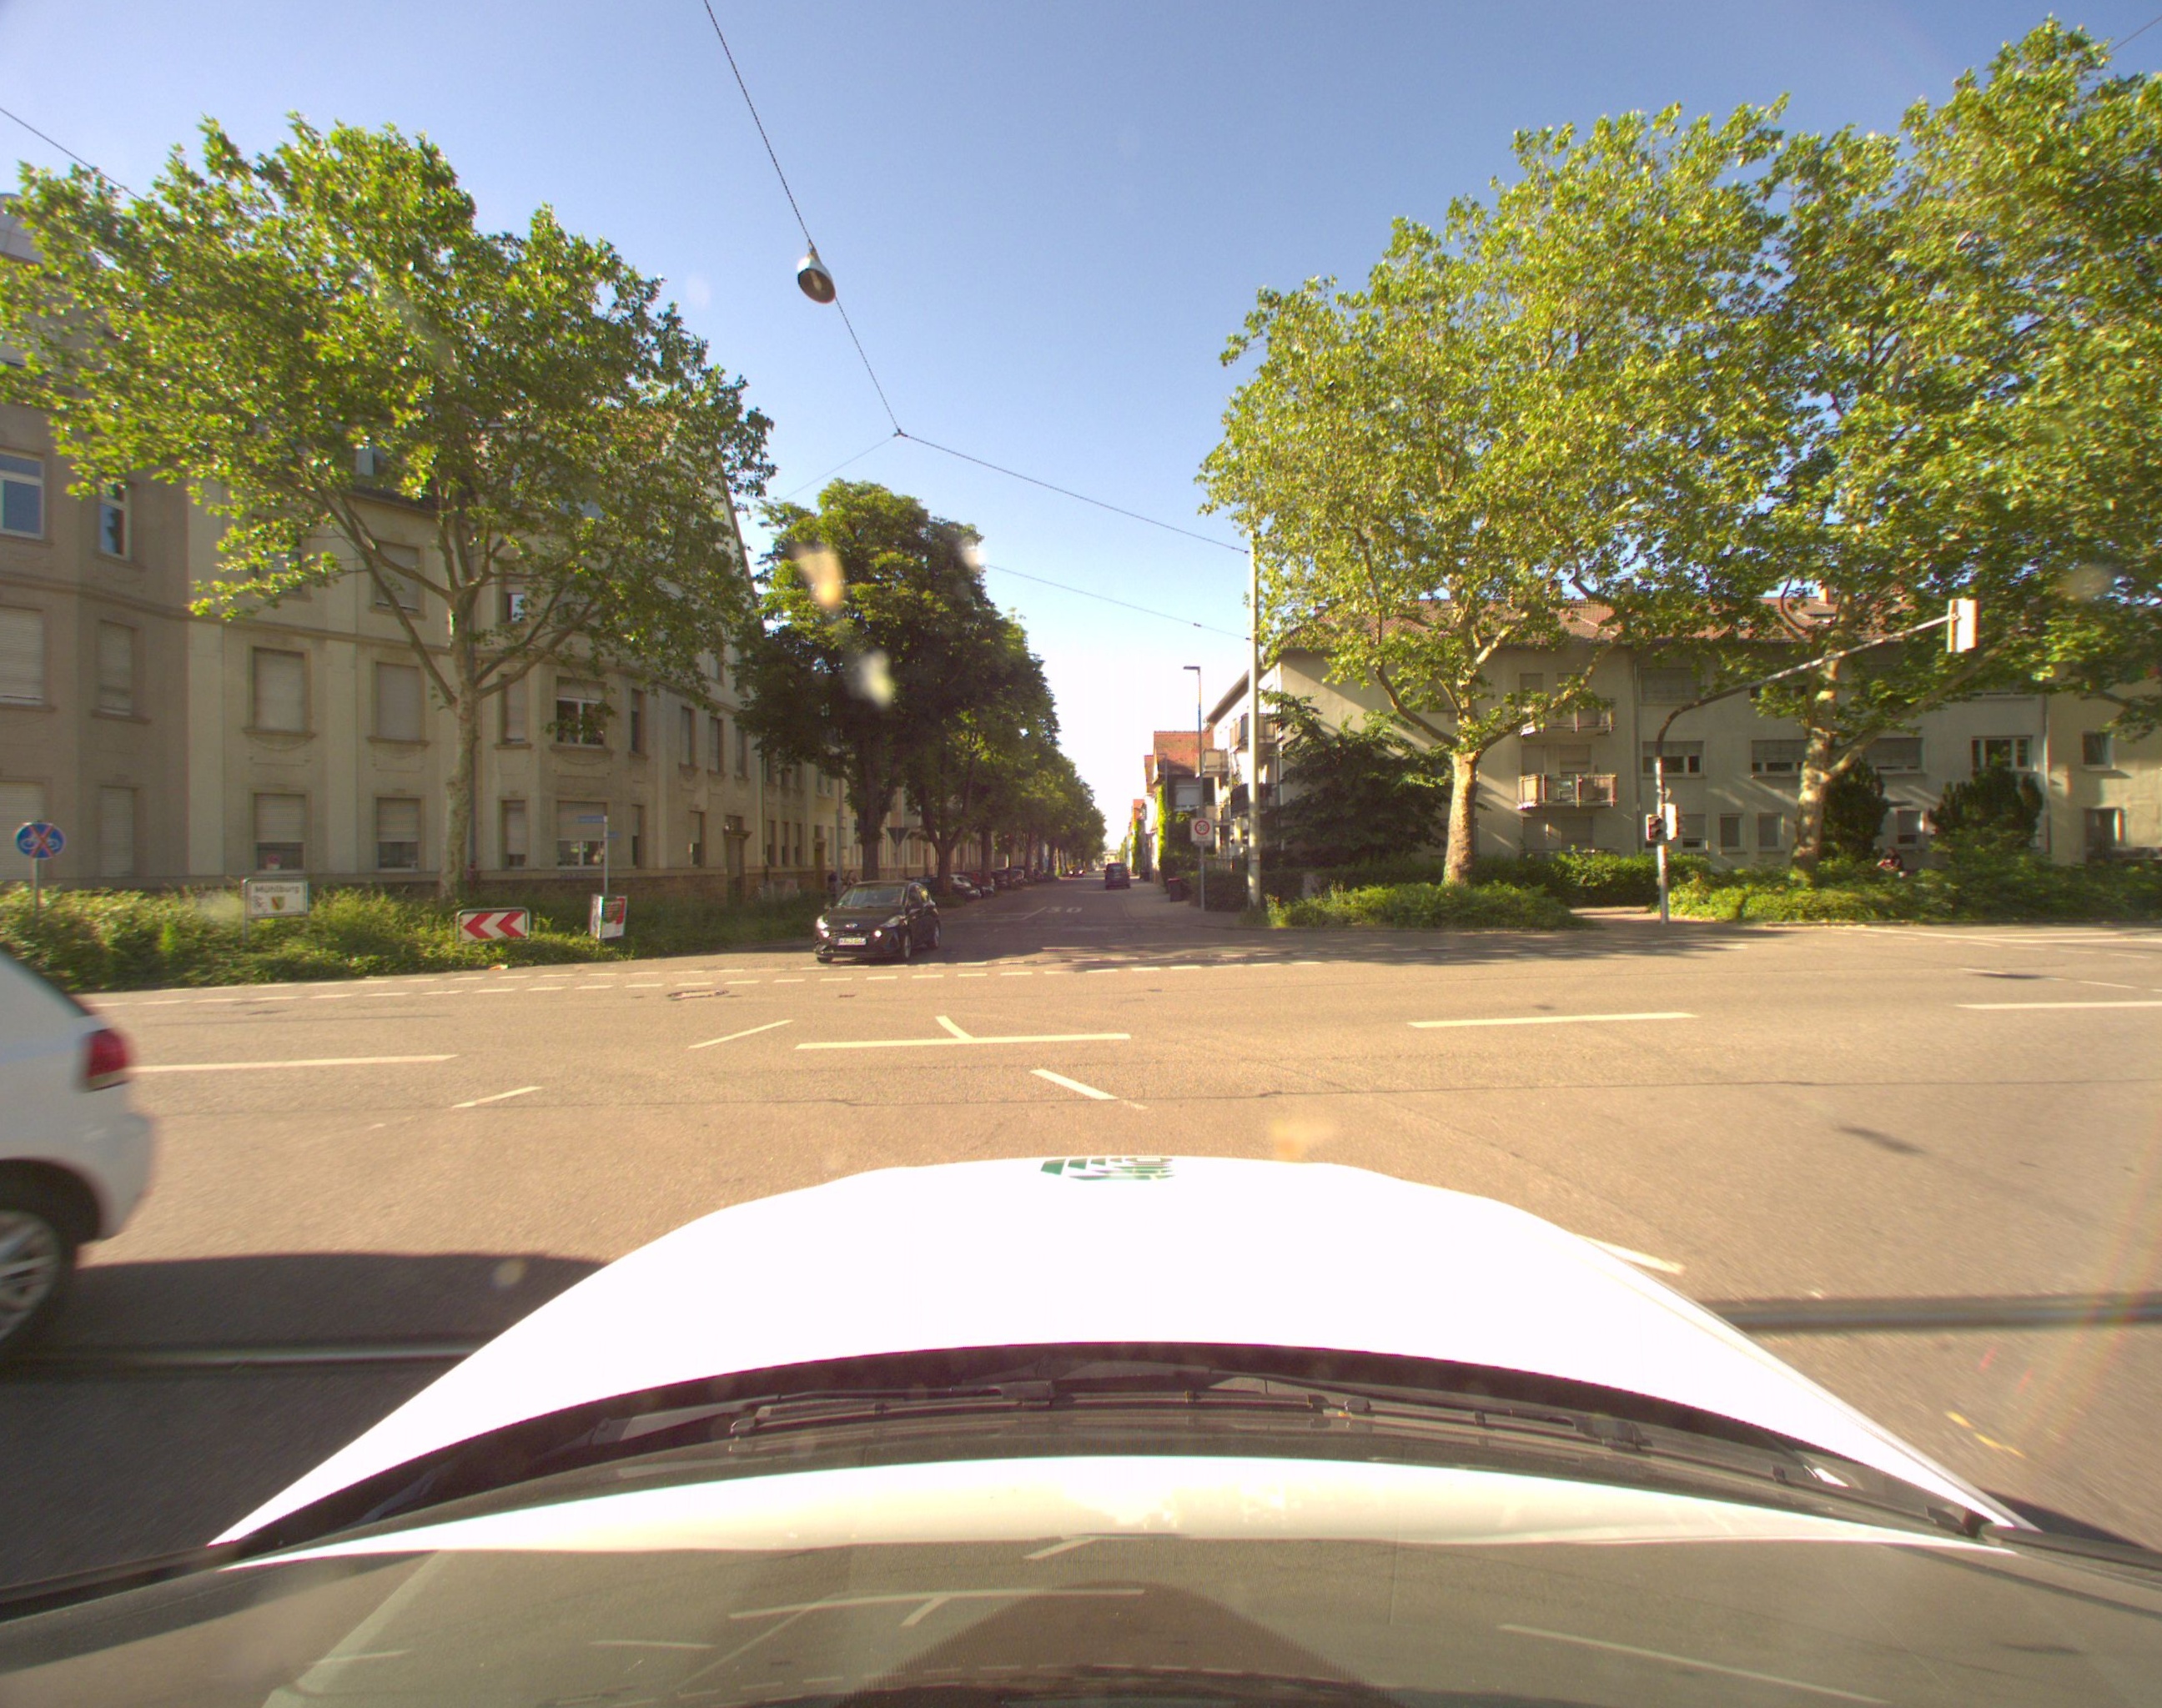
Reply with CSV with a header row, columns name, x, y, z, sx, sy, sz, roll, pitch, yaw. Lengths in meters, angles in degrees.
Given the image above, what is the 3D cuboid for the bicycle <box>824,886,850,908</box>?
name,x,y,z,sx,sy,sz,roll,pitch,yaw
bicycle,-11.215,1.965,37.433,0.469,0.912,1.601,-1,-1,9

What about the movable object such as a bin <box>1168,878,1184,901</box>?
name,x,y,z,sx,sy,sz,roll,pitch,yaw
movable object such as a bin,4.509,1.667,38.594,0.595,1.044,0.707,-5,-1,0

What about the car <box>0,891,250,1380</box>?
name,x,y,z,sx,sy,sz,roll,pitch,yaw
car,-4.208,0.835,1.183,1.799,1.458,4.001,-1,-2,1

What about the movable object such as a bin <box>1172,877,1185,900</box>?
name,x,y,z,sx,sy,sz,roll,pitch,yaw
movable object such as a bin,4.727,1.667,39.446,0.482,1.044,0.656,-5,-1,0

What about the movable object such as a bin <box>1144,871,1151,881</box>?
name,x,y,z,sx,sy,sz,roll,pitch,yaw
movable object such as a bin,6.753,2.218,82.929,0.645,1.040,0.828,-2,-1,0

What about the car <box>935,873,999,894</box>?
name,x,y,z,sx,sy,sz,roll,pitch,yaw
car,-7.740,1.992,55.611,3.970,1.403,1.831,0,-1,3

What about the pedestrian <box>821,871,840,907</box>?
name,x,y,z,sx,sy,sz,roll,pitch,yaw
pedestrian,-11.633,1.609,37.774,0.457,1.658,0.897,-1,-1,10

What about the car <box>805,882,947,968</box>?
name,x,y,z,sx,sy,sz,roll,pitch,yaw
car,-3.901,1.309,16.131,1.653,1.464,3.811,-1,-2,3

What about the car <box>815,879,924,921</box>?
name,x,y,z,sx,sy,sz,roll,pitch,yaw
car,-8.362,1.809,32.404,3.868,1.476,1.616,-2,-1,1

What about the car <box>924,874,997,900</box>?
name,x,y,z,sx,sy,sz,roll,pitch,yaw
car,-7.111,1.957,48.289,3.970,1.482,1.787,0,-1,3

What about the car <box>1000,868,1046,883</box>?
name,x,y,z,sx,sy,sz,roll,pitch,yaw
car,-5.953,2.230,84.186,4.516,1.503,1.892,0,-1,0

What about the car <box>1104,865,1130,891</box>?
name,x,y,z,sx,sy,sz,roll,pitch,yaw
car,2.742,1.806,62.217,1.857,1.916,4.785,0,-1,3

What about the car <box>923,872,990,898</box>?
name,x,y,z,sx,sy,sz,roll,pitch,yaw
car,-8.092,1.998,53.195,3.970,1.508,1.724,-2,-1,3

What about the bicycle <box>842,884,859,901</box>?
name,x,y,z,sx,sy,sz,roll,pitch,yaw
bicycle,-12.053,2.024,42.686,0.571,0.816,0.967,2,-1,1

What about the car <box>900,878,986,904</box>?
name,x,y,z,sx,sy,sz,roll,pitch,yaw
car,-7.318,1.947,43.413,4.196,1.349,1.703,0,-2,1

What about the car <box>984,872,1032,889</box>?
name,x,y,z,sx,sy,sz,roll,pitch,yaw
car,-6.490,2.332,72.409,3.882,1.446,1.863,0,-1,7

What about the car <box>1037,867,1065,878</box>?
name,x,y,z,sx,sy,sz,roll,pitch,yaw
car,-4.273,2.645,116.769,3.976,1.464,1.796,1,-2,-2

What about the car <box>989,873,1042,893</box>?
name,x,y,z,sx,sy,sz,roll,pitch,yaw
car,-5.108,2.242,63.887,3.972,1.514,1.748,0,-2,2

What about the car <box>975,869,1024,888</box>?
name,x,y,z,sx,sy,sz,roll,pitch,yaw
car,-6.922,2.070,69.710,3.972,1.592,1.860,0,-1,1

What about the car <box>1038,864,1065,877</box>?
name,x,y,z,sx,sy,sz,roll,pitch,yaw
car,-4.280,2.457,119.104,3.976,1.761,1.797,1,-1,-2

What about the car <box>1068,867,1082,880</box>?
name,x,y,z,sx,sy,sz,roll,pitch,yaw
car,-0.728,2.506,105.997,1.635,1.508,3.703,-2,-1,2

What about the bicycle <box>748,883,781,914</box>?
name,x,y,z,sx,sy,sz,roll,pitch,yaw
bicycle,-13.050,1.801,33.648,0.511,1.154,1.984,1,0,3

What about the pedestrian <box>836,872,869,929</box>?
name,x,y,z,sx,sy,sz,roll,pitch,yaw
pedestrian,-6.931,1.412,24.729,0.689,1.682,0.682,-1,-1,13

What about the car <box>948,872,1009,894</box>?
name,x,y,z,sx,sy,sz,roll,pitch,yaw
car,-7.246,2.039,57.921,3.970,1.566,1.865,0,-1,3

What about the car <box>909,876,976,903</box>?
name,x,y,z,sx,sy,sz,roll,pitch,yaw
car,-7.766,1.991,45.805,3.418,1.452,1.705,0,-2,4
